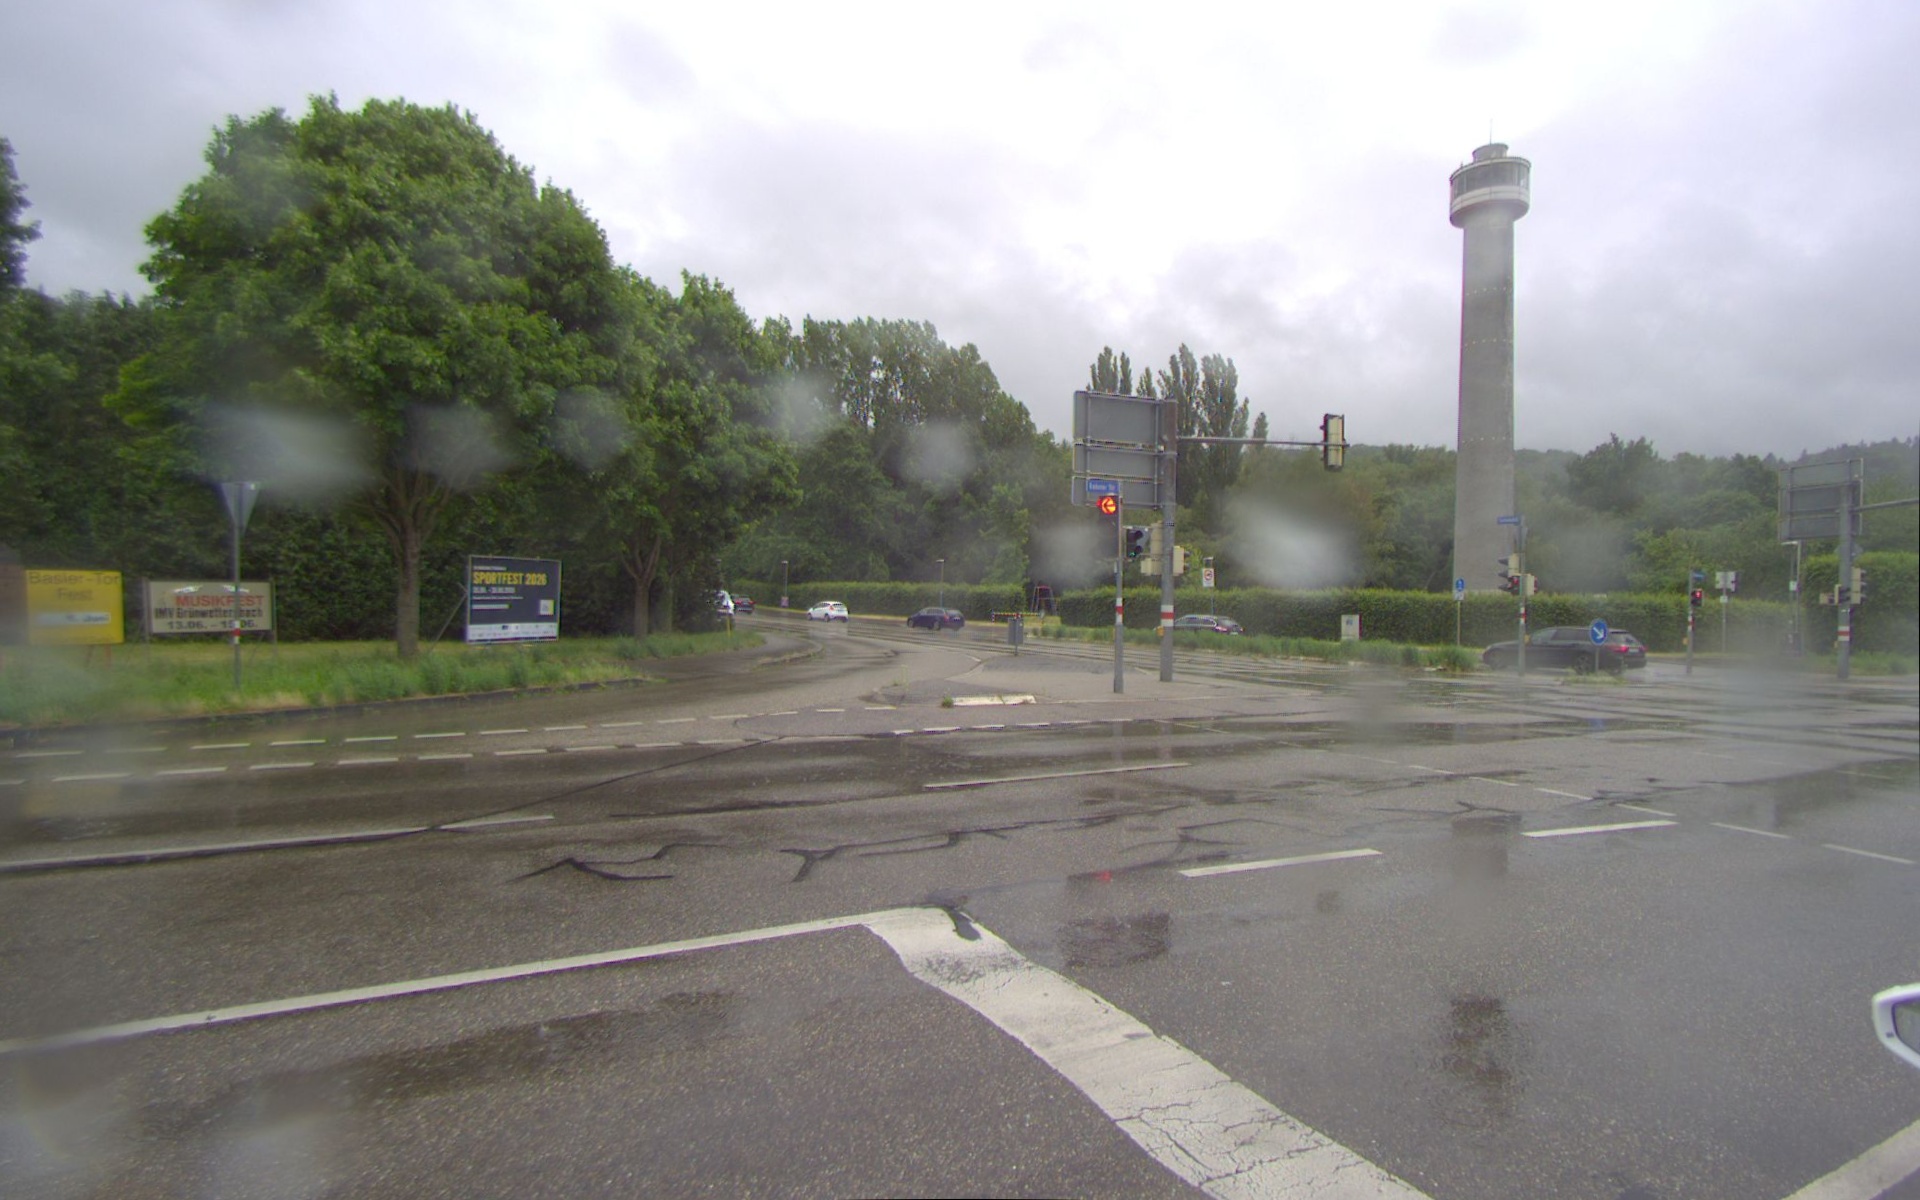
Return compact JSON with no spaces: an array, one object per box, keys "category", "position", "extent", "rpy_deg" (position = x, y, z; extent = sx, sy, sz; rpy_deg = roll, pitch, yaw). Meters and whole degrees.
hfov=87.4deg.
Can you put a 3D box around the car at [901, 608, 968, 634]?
[{"category":"car","position":[-1.659,1.310,63.451],"extent":[1.807,1.574,4.632],"rpy_deg":[1,-1,-39]}]

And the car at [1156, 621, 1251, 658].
[{"category":"car","position":[11.297,1.811,46.940],"extent":[1.798,1.574,4.655],"rpy_deg":[1,-1,-25]}]

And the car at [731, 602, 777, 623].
[{"category":"car","position":[-16.999,1.008,82.840],"extent":[1.807,1.661,4.631],"rpy_deg":[1,-1,-39]}]

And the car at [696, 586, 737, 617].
[{"category":"car","position":[-17.391,0.133,71.576],"extent":[2.086,2.040,4.729],"rpy_deg":[1,-2,-22]}]

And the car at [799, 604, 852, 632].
[{"category":"car","position":[-9.978,1.306,74.326],"extent":[1.897,1.941,4.636],"rpy_deg":[1,-1,-36]}]

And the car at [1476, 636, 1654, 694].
[{"category":"car","position":[18.972,1.977,31.766],"extent":[1.797,1.574,4.657],"rpy_deg":[1,-1,-24]}]
